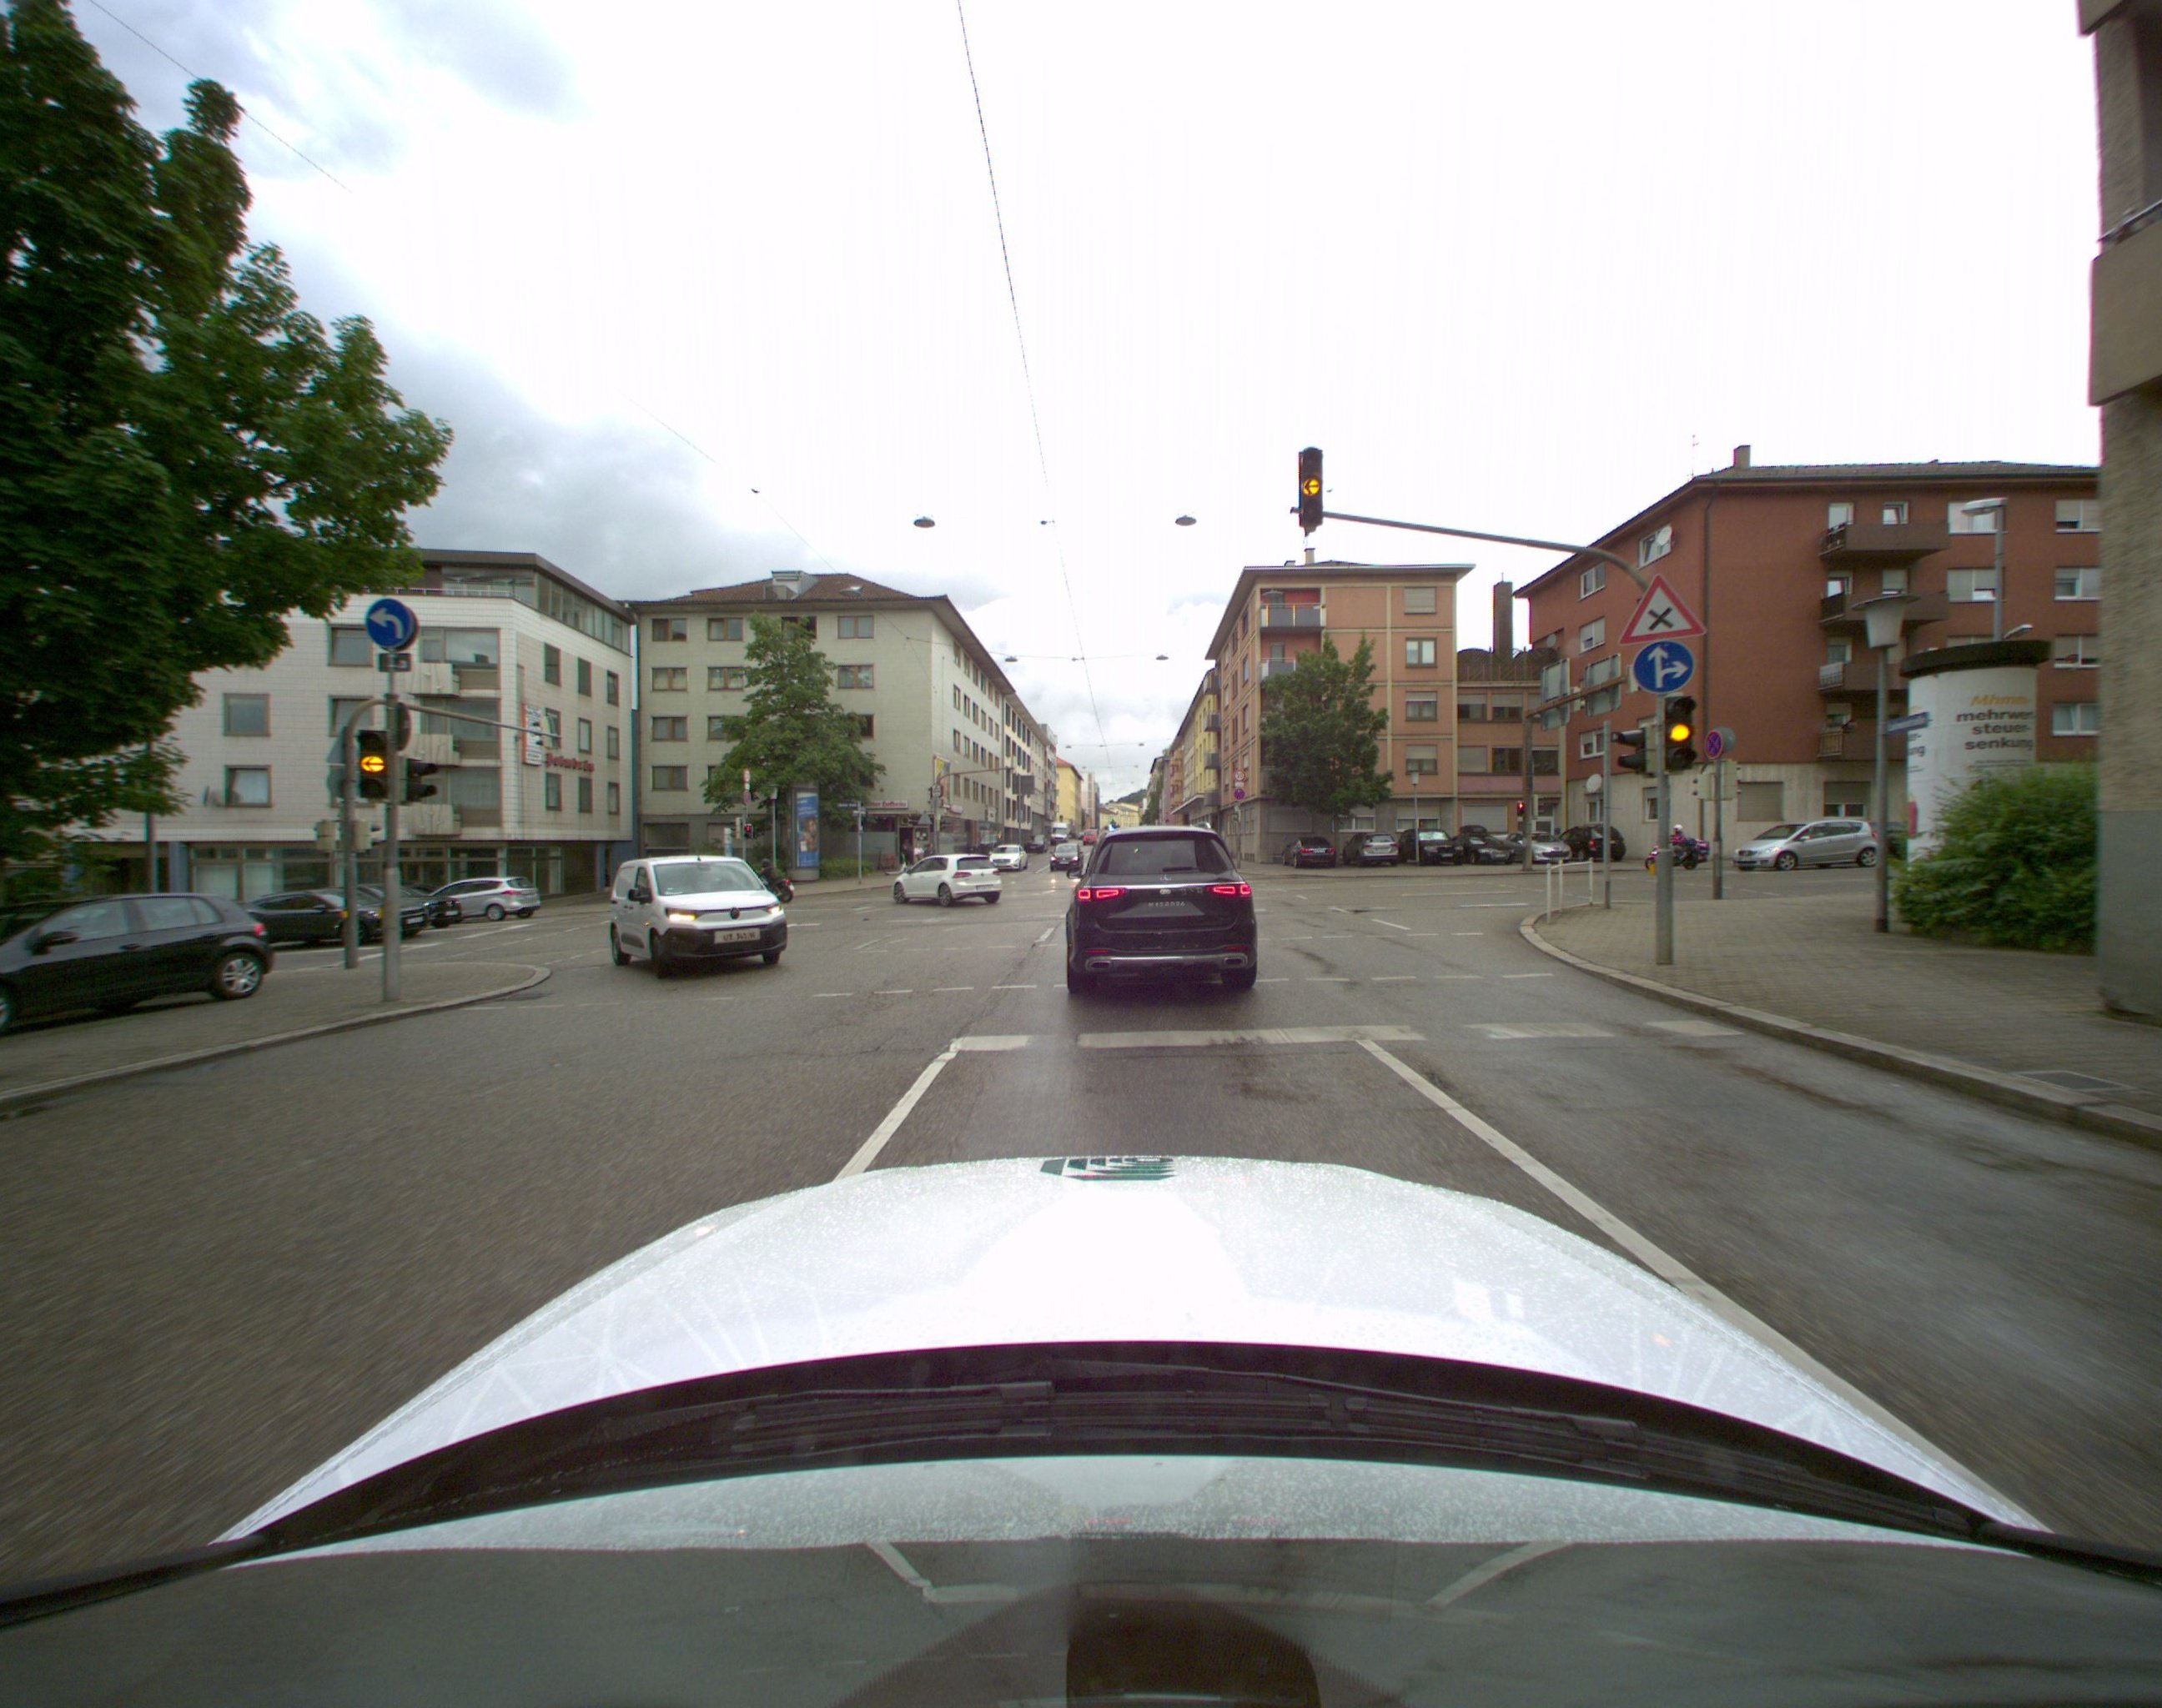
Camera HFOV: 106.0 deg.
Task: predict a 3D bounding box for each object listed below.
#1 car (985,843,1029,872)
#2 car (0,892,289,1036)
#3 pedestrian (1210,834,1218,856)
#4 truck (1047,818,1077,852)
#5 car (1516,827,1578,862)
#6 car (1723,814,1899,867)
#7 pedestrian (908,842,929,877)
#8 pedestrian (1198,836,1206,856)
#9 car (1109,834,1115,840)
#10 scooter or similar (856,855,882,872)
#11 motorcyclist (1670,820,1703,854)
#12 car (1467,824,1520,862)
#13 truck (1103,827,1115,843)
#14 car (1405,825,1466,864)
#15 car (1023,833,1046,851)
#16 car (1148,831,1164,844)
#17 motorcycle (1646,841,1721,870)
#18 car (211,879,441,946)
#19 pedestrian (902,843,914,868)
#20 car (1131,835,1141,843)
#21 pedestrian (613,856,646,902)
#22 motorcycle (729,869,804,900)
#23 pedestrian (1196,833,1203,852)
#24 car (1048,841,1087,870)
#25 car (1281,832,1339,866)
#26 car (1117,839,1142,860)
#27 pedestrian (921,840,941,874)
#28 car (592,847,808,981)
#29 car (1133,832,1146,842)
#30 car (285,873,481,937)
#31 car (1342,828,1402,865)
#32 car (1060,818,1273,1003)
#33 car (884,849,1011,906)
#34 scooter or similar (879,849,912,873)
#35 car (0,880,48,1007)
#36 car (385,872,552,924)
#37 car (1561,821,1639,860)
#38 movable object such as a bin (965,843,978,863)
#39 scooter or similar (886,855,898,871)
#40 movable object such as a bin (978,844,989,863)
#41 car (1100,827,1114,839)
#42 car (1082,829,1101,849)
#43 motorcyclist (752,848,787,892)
[{"bbox_3d":[-4.090,0.146,45.629,1.836,1.512,4.004,-2,1,3],"label":"car"},{"bbox_3d":[-11.976,1.242,9.348,1.726,1.360,4.001,-3,-1,1],"label":"car"},{"bbox_3d":[9.645,-0.672,59.220,0.477,1.565,0.558,1,4,3],"label":"pedestrian"},{"bbox_3d":[-2.317,-2.273,101.077,2.794,3.832,8.154,1,-1,5],"label":"truck"},{"bbox_3d":[21.909,-0.413,38.431,1.656,1.582,4.017,1,-1,17],"label":"car"},{"bbox_3d":[23.624,-0.419,26.474,3.971,1.554,1.842,-2,0,2],"label":"car"},{"bbox_3d":[-7.874,0.257,39.429,0.713,1.646,0.751,-1,3,-34],"label":"pedestrian"},{"bbox_3d":[9.286,-0.635,62.502,0.518,1.538,0.570,1,4,3],"label":"pedestrian"},{"bbox_3d":[9.247,-5.001,242.190,1.836,1.674,4.004,-1,0,4],"label":"car"},{"bbox_3d":[-10.962,0.482,42.140,1.447,0.843,0.553,0,-1,40],"label":"scooter or similar"},{"bbox_3d":[22.064,-0.617,29.680,0.655,1.224,0.653,-3,0,-5],"label":"motorcyclist"},{"bbox_3d":[19.528,-0.518,38.717,1.779,1.698,4.020,1,1,20],"label":"car"},{"bbox_3d":[7.387,-5.007,215.245,2.794,3.832,8.154,1,-1,5],"label":"truck"},{"bbox_3d":[16.710,-0.440,38.550,1.972,1.719,4.015,-2,0,14],"label":"car"},{"bbox_3d":[-4.321,-1.086,76.537,1.717,1.603,4.002,-1,0,2],"label":"car"},{"bbox_3d":[9.662,-2.098,105.190,2.006,1.562,5.162,1,-1,5],"label":"car"},{"bbox_3d":[21.969,0.046,29.704,2.353,0.927,0.636,-3,-1,-5],"label":"motorcycle"},{"bbox_3d":[-20.181,1.537,21.910,4.352,1.477,1.824,-2,1,-1],"label":"car"},{"bbox_3d":[-10.051,0.085,47.321,0.517,1.400,0.578,1,-1,-1],"label":"pedestrian"},{"bbox_3d":[11.505,-3.102,171.300,2.006,1.562,4.006,1,-1,5],"label":"car"},{"bbox_3d":[-18.633,1.007,33.584,0.906,1.817,0.760,0,3,30],"label":"pedestrian"},{"bbox_3d":[-10.779,1.037,27.952,2.231,1.006,0.867,-1,0,9],"label":"motorcycle"},{"bbox_3d":[9.985,-0.931,68.408,0.518,1.555,0.570,1,4,3],"label":"pedestrian"},{"bbox_3d":[-0.720,0.056,46.393,1.836,1.489,4.004,-2,1,3],"label":"car"},{"bbox_3d":[11.157,-0.262,39.991,1.835,1.554,4.802,-1,1,4],"label":"car"},{"bbox_3d":[3.683,-0.364,61.727,1.836,1.489,4.004,-1,0,3],"label":"car"},{"bbox_3d":[-7.419,0.135,40.259,0.713,1.646,0.751,-1,3,-34],"label":"pedestrian"},{"bbox_3d":[-6.298,0.877,13.171,1.822,1.715,4.491,-3,0,-42],"label":"car"},{"bbox_3d":[9.828,-2.905,137.204,2.006,1.562,4.006,1,-1,5],"label":"car"},{"bbox_3d":[-21.694,1.557,25.453,4.352,1.536,1.824,-4,1,-1],"label":"car"},{"bbox_3d":[13.933,-0.357,39.198,1.975,1.660,4.010,-1,1,8],"label":"car"},{"bbox_3d":[0.839,0.550,10.177,2.014,1.739,4.747,-1,0,0],"label":"car"},{"bbox_3d":[-4.095,0.668,24.460,1.845,1.461,4.328,-3,1,-39],"label":"car"},{"bbox_3d":[-9.325,0.359,40.978,1.565,1.190,0.497,1,-1,-27],"label":"scooter or similar"},{"bbox_3d":[-15.176,1.260,9.523,1.775,1.728,4.315,-5,0,-21],"label":"car"},{"bbox_3d":[-21.713,1.532,29.043,4.243,1.600,2.023,-2,0,-6],"label":"car"},{"bbox_3d":[24.578,-0.593,38.743,1.979,1.706,4.015,1,-1,14],"label":"car"},{"bbox_3d":[-7.279,-0.073,54.248,0.695,1.315,0.783,1,-1,1],"label":"movable object such as a bin"},{"bbox_3d":[-9.937,0.457,42.824,0.460,0.843,1.313,1,-1,-20],"label":"scooter or similar"},{"bbox_3d":[-7.039,-0.019,58.851,0.695,1.315,0.783,1,-1,1],"label":"movable object such as a bin"},{"bbox_3d":[3.862,-3.062,119.772,1.836,1.674,4.004,-1,0,4],"label":"car"},{"bbox_3d":[1.310,-1.788,99.151,2.056,2.241,4.625,-1,0,4],"label":"car"},{"bbox_3d":[-10.665,0.541,27.915,0.740,1.453,0.909,-1,0,8],"label":"motorcyclist"}]
